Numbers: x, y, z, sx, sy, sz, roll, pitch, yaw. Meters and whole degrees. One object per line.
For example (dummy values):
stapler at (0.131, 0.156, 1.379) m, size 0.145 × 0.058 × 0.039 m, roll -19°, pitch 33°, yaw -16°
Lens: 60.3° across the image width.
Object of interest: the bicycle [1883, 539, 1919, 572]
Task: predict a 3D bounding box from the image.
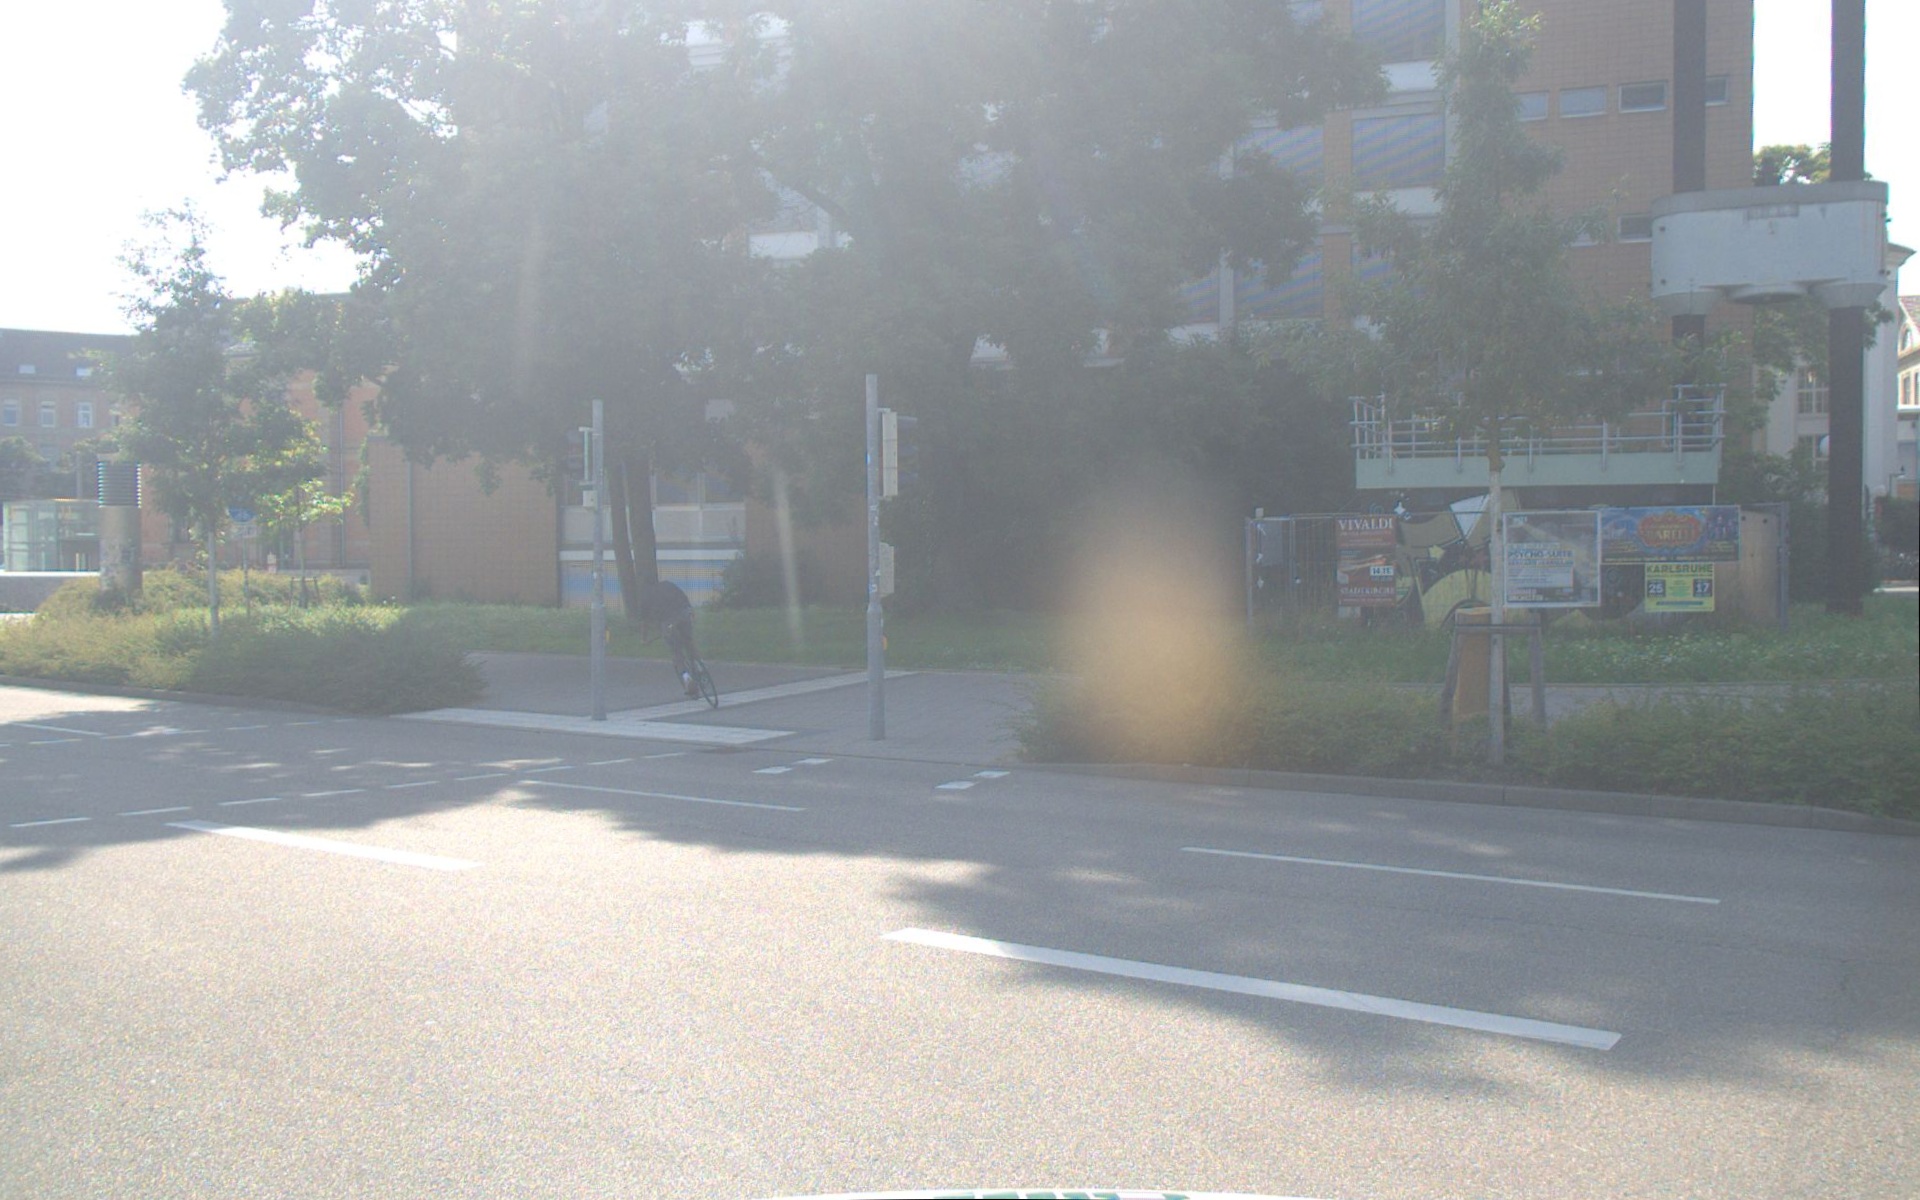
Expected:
bicycle at (39.043, -1.804, 67.377) m, size 2.378 × 1.302 × 0.720 m, roll 2°, pitch 2°, yaw 24°

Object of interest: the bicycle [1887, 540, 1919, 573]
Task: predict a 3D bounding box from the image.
bicycle at (38.682, -1.738, 66.488) m, size 2.378 × 1.284 × 0.720 m, roll 2°, pitch 2°, yaw 24°

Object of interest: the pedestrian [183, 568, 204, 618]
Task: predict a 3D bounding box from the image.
pedestrian at (-25.951, -0.247, 55.968) m, size 0.607 × 1.667 × 0.529 m, roll -1°, pitch 1°, yaw -26°

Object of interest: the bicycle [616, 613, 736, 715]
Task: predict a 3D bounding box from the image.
bicycle at (-3.430, 0.733, 19.799) m, size 0.763 × 0.992 × 2.131 m, roll -5°, pitch 5°, yaw -27°

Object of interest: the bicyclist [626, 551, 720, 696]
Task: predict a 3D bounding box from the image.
bicyclist at (-3.421, 0.253, 19.691) m, size 0.763 × 1.605 × 0.982 m, roll -5°, pitch 4°, yaw -28°
